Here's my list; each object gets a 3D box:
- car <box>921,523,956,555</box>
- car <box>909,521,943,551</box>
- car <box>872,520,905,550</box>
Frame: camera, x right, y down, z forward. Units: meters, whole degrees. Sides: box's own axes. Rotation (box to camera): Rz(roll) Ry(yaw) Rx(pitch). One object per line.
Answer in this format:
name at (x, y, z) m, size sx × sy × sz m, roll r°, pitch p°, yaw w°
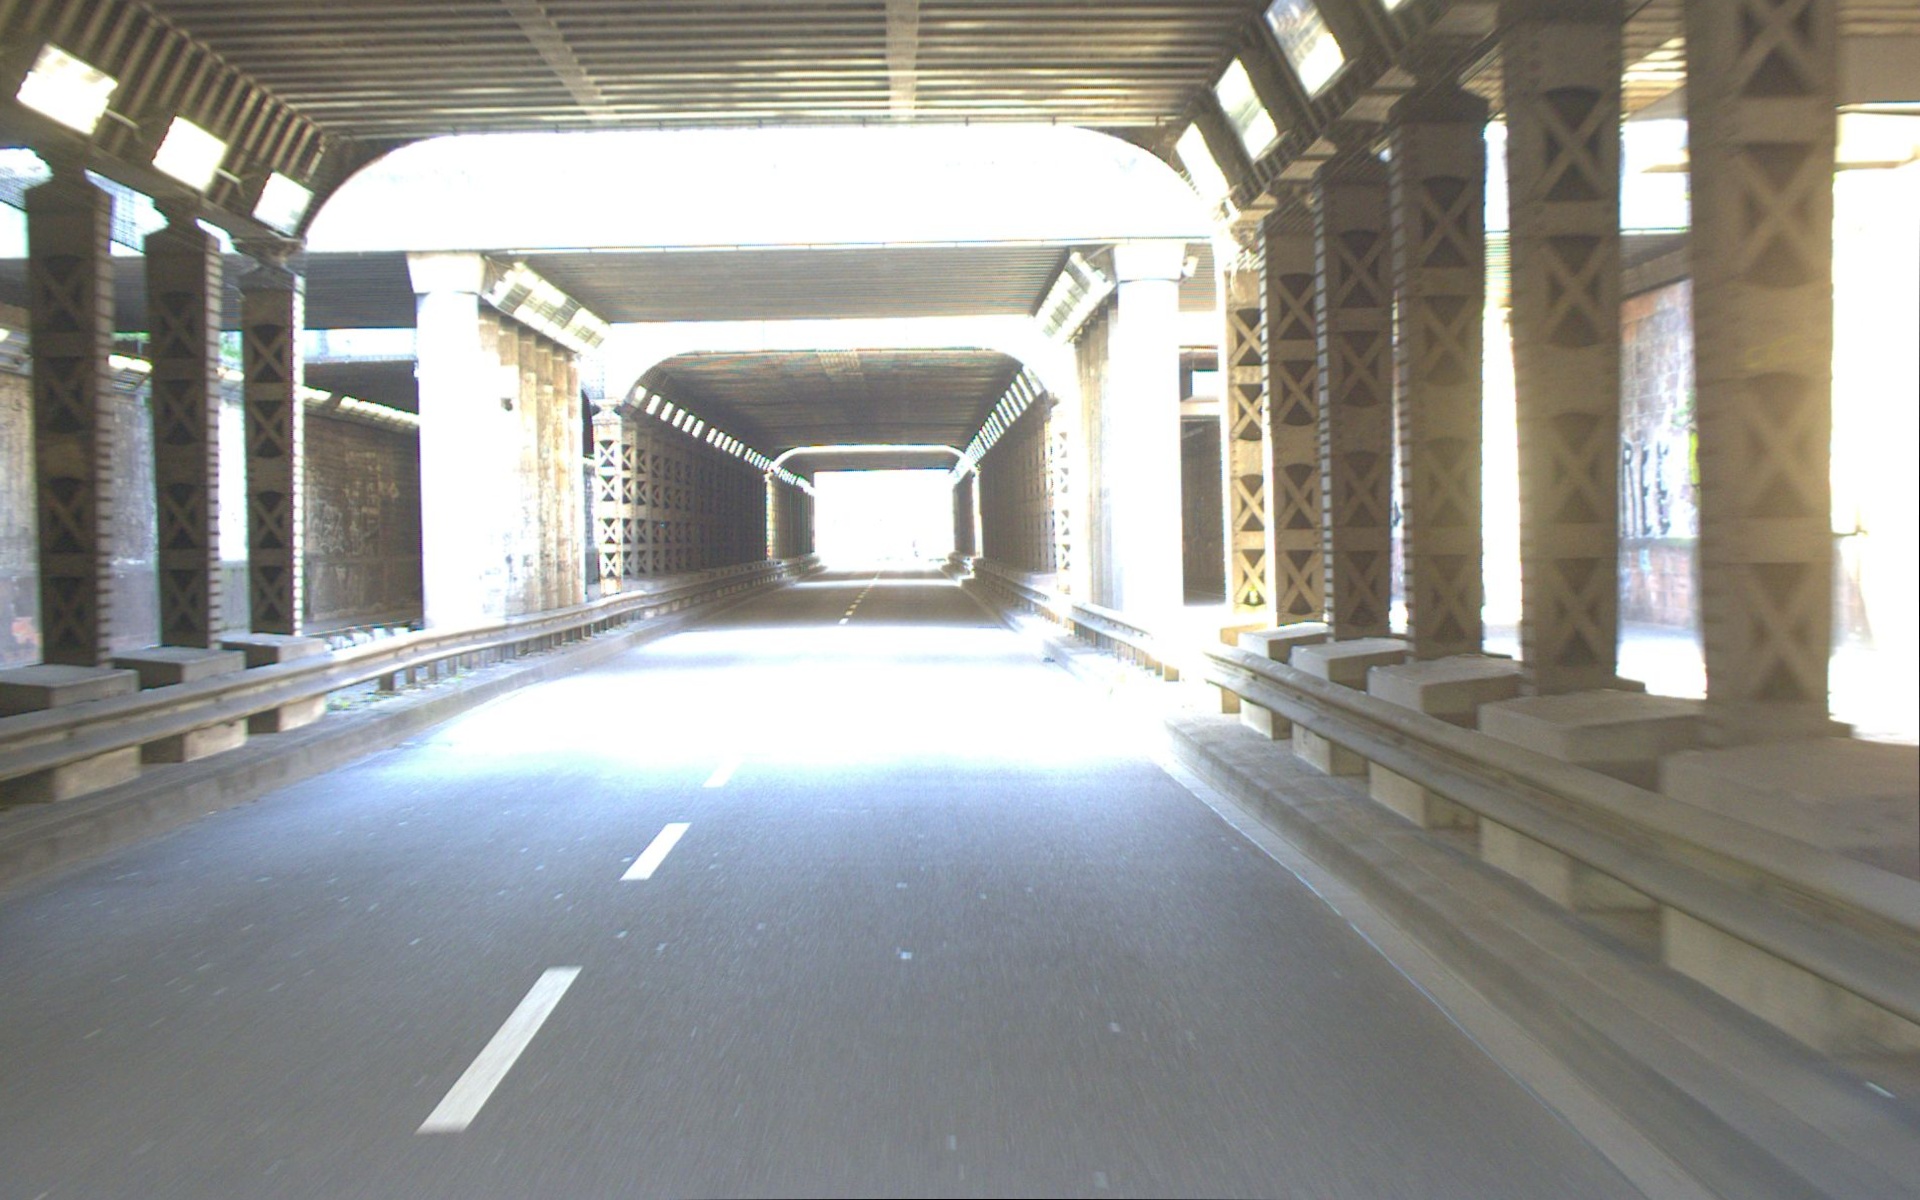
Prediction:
car at (-1.247, -3.471, 196.782) m, size 1.993 × 1.778 × 4.000 m, roll 0°, pitch 1°, yaw -1°
car at (-2.034, -3.848, 206.153) m, size 1.993 × 1.778 × 4.000 m, roll 0°, pitch 1°, yaw -1°
car at (-4.406, -4.016, 212.694) m, size 1.993 × 1.778 × 4.000 m, roll 0°, pitch 1°, yaw -1°
